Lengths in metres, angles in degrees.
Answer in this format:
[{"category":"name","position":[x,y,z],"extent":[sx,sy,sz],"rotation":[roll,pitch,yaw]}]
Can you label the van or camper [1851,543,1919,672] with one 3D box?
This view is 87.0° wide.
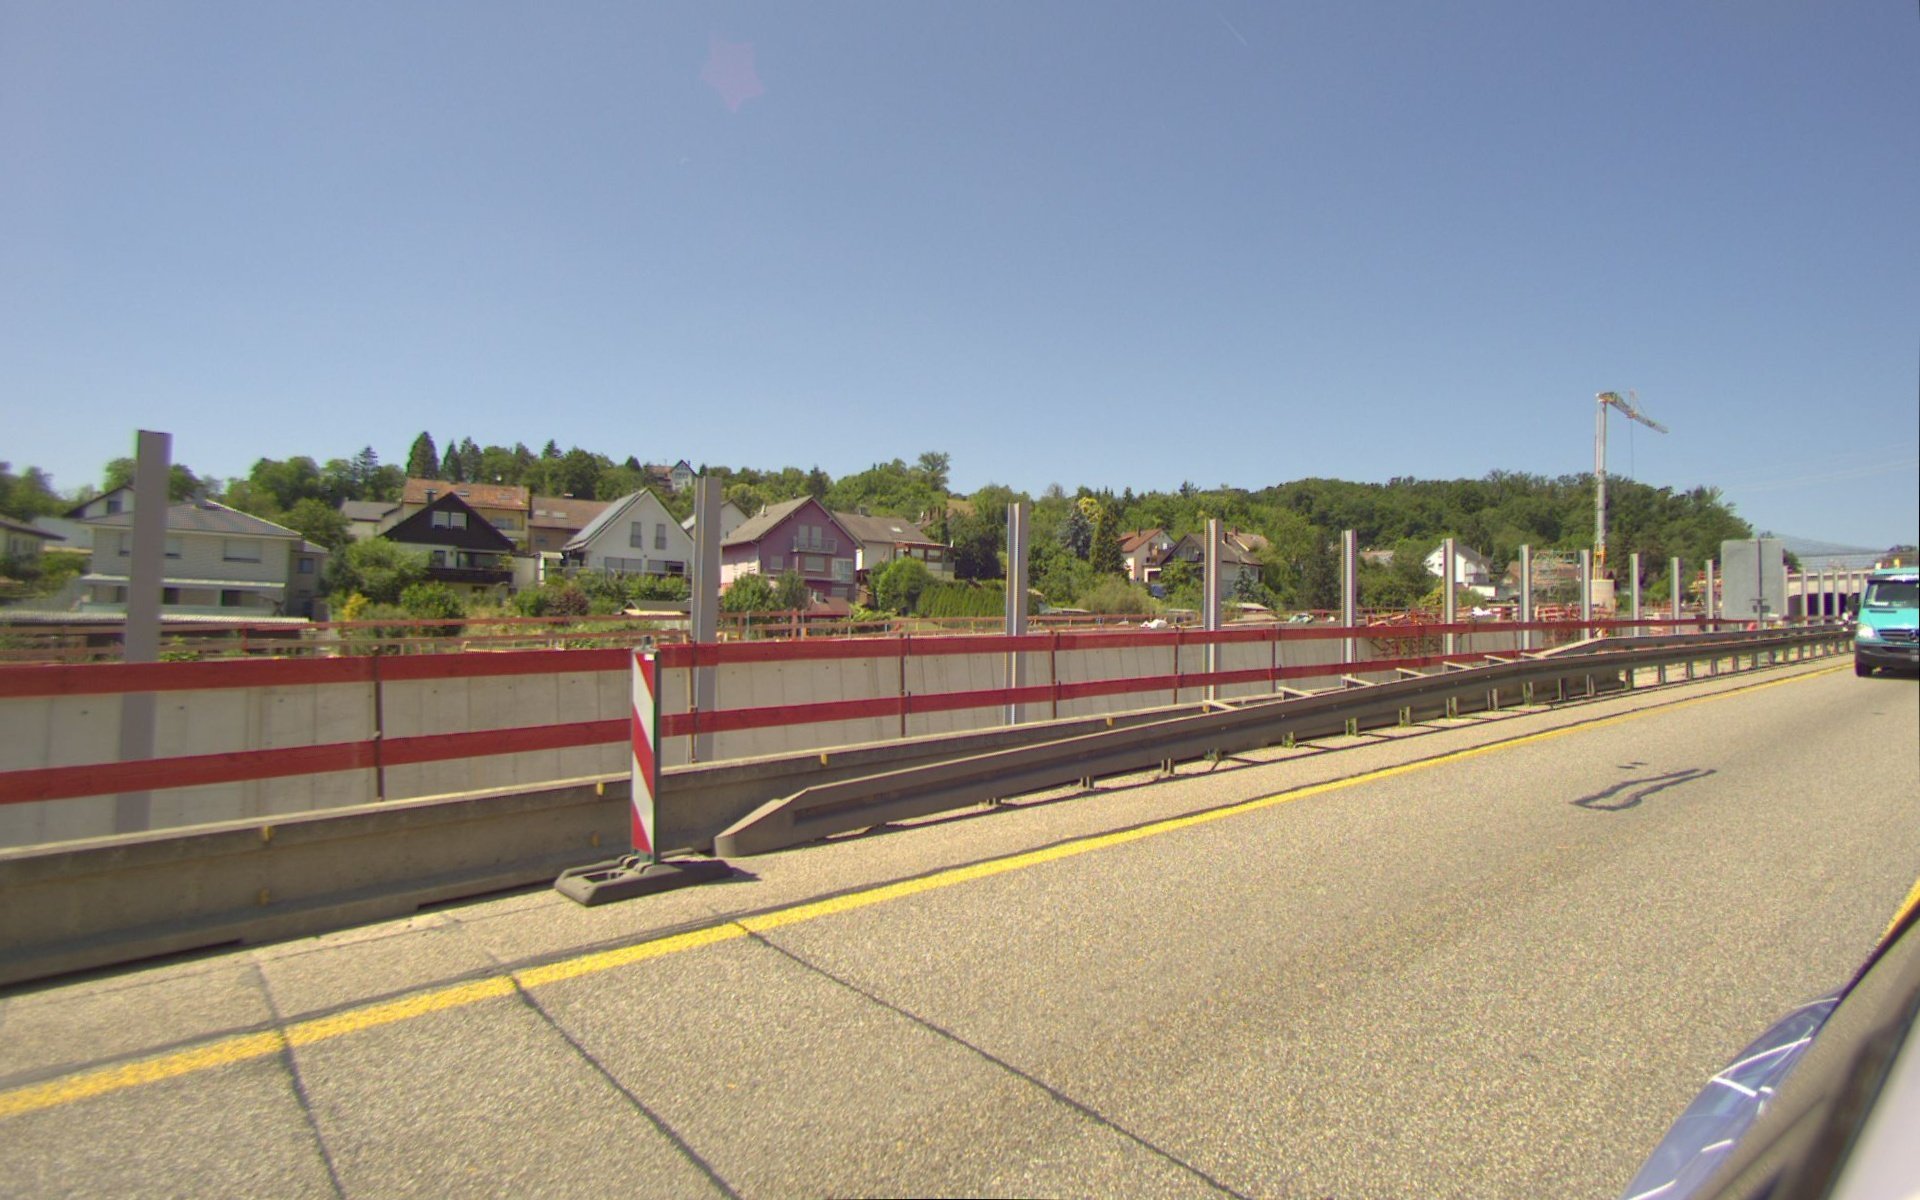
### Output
[{"category":"van or camper","position":[21.540,0.162,22.166],"extent":[7.537,2.504,2.096],"rotation":[0,0,-41]}]
